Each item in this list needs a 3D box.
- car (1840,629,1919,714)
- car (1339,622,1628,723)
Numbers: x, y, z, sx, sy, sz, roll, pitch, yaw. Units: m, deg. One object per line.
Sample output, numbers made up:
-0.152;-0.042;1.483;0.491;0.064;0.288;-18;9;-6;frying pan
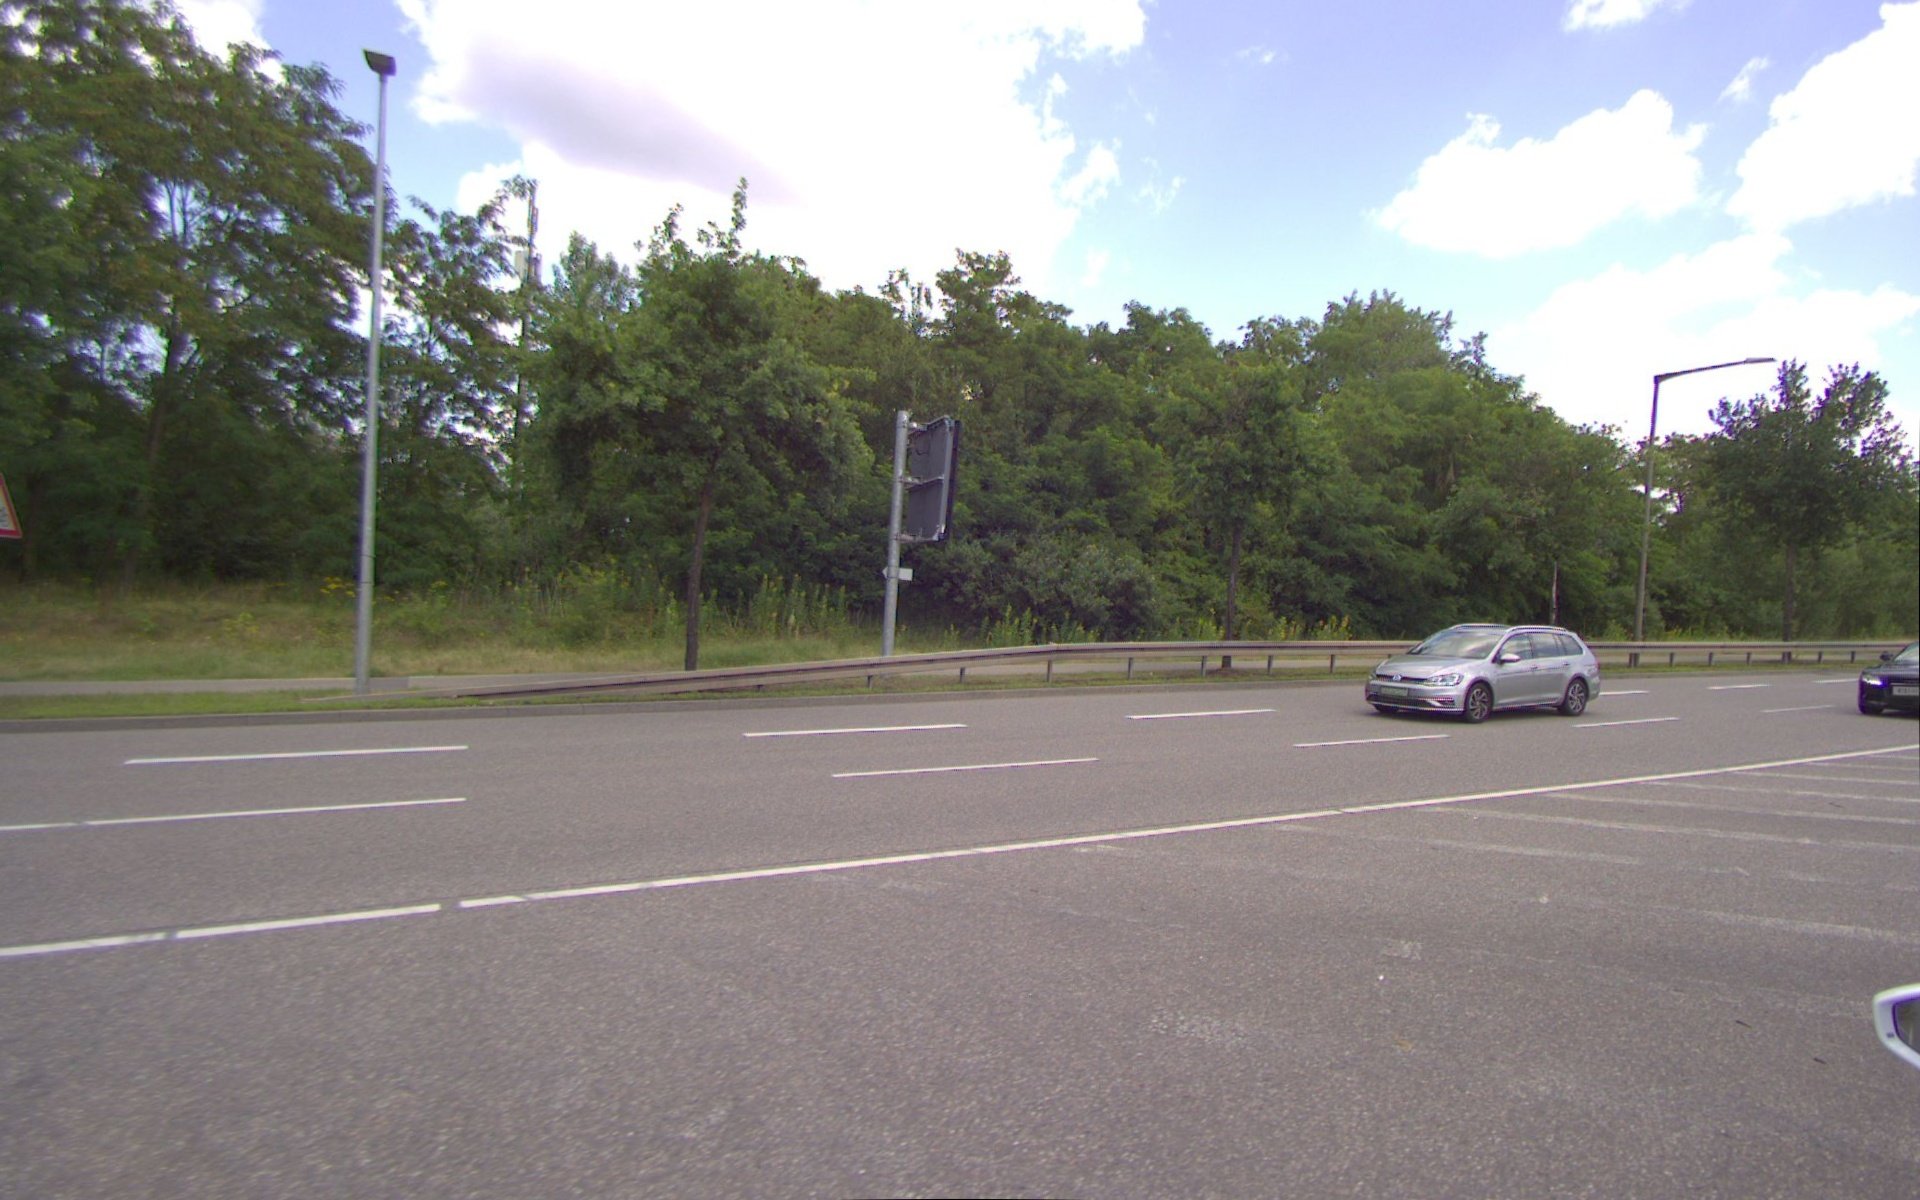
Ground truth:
17.577;1.259;17.805;4.528;1.381;1.892;2;-2;-34;car
8.708;1.120;16.643;4.641;1.415;1.985;1;0;-29;car
